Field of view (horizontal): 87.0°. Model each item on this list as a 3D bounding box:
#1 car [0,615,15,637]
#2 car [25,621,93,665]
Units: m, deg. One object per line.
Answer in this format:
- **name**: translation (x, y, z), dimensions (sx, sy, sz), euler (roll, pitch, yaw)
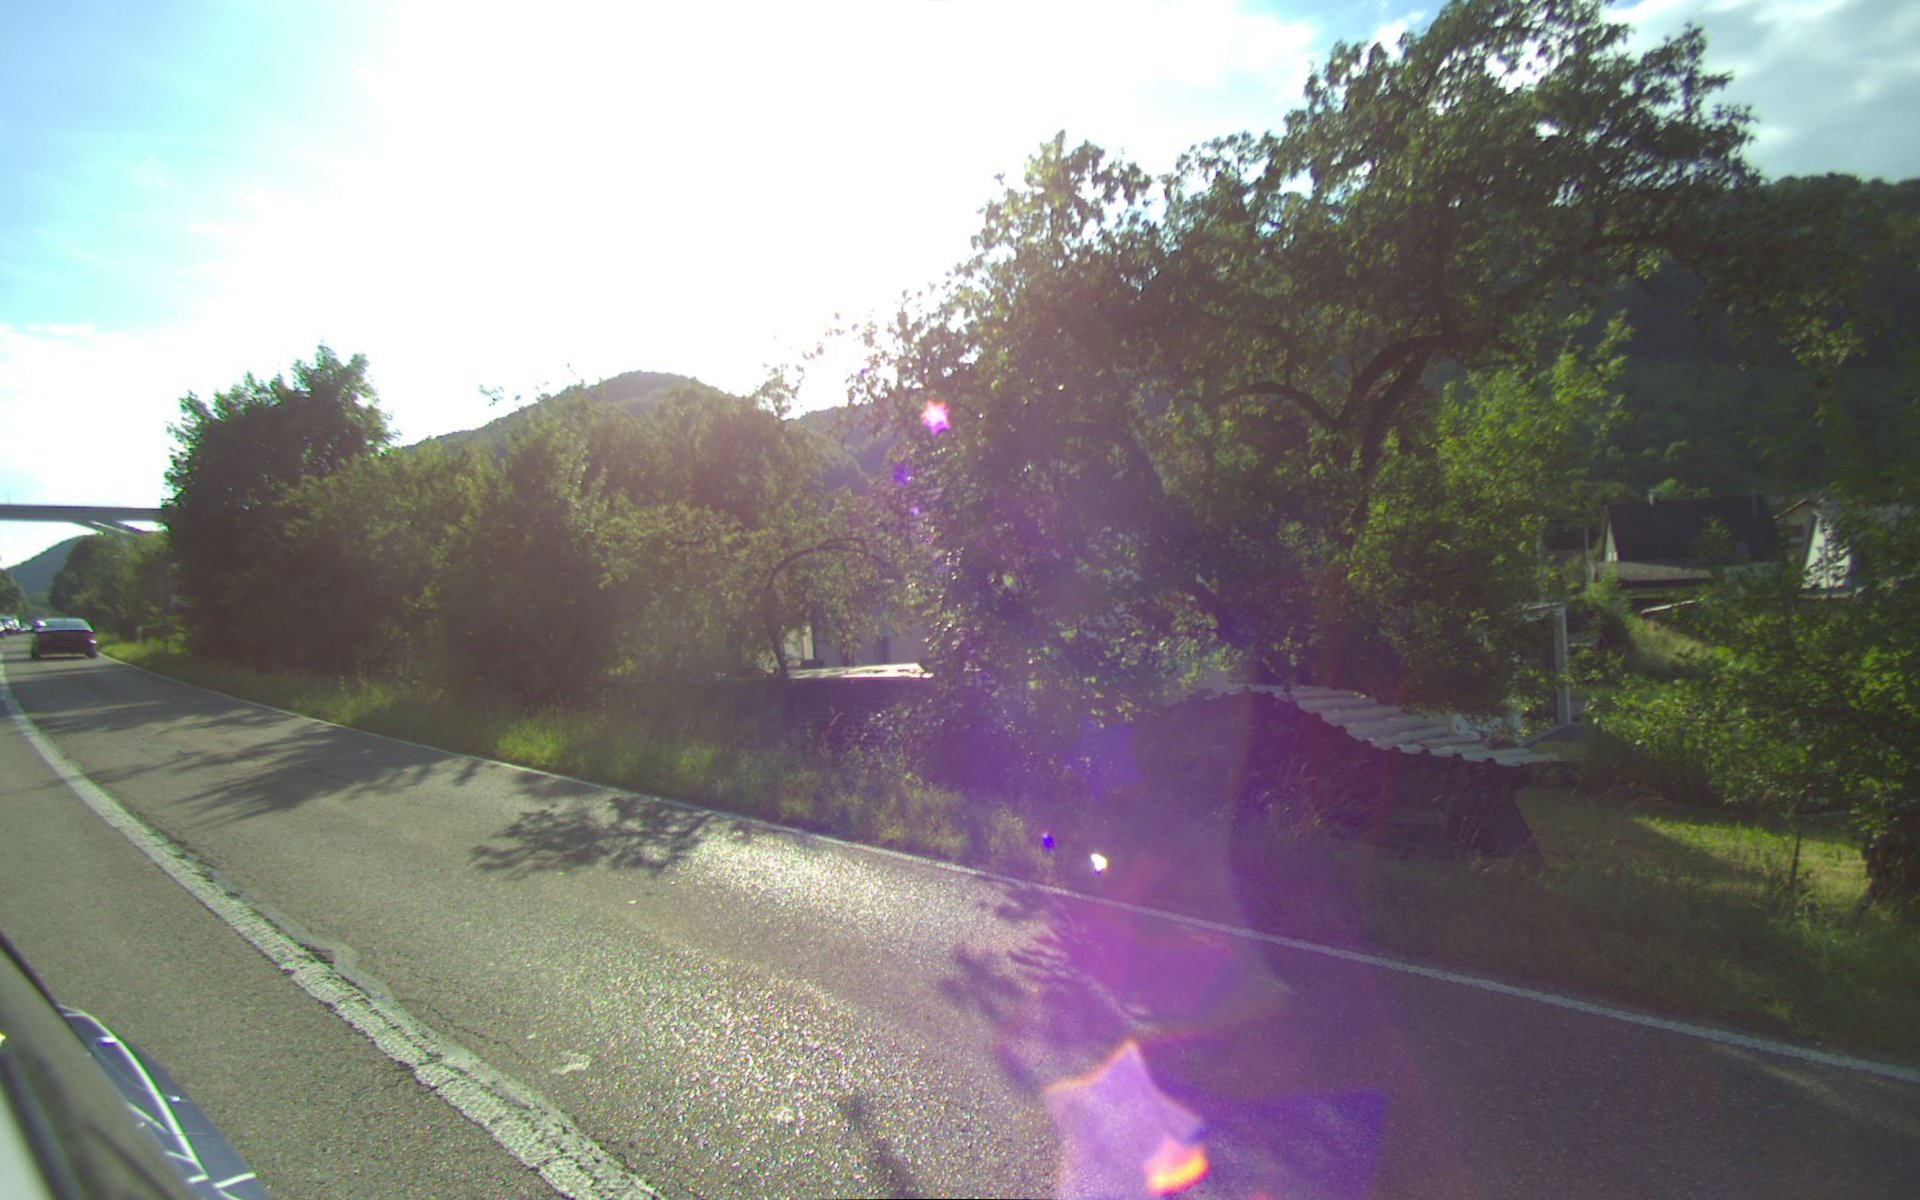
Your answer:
- **car**: translation (-87.706, 2.371, 92.425), dimensions (1.971, 2.029, 4.003), euler (-1, 0, -45)
- **car**: translation (-31.254, 1.435, 35.068), dimensions (1.576, 1.364, 4.206), euler (-1, 0, -44)
